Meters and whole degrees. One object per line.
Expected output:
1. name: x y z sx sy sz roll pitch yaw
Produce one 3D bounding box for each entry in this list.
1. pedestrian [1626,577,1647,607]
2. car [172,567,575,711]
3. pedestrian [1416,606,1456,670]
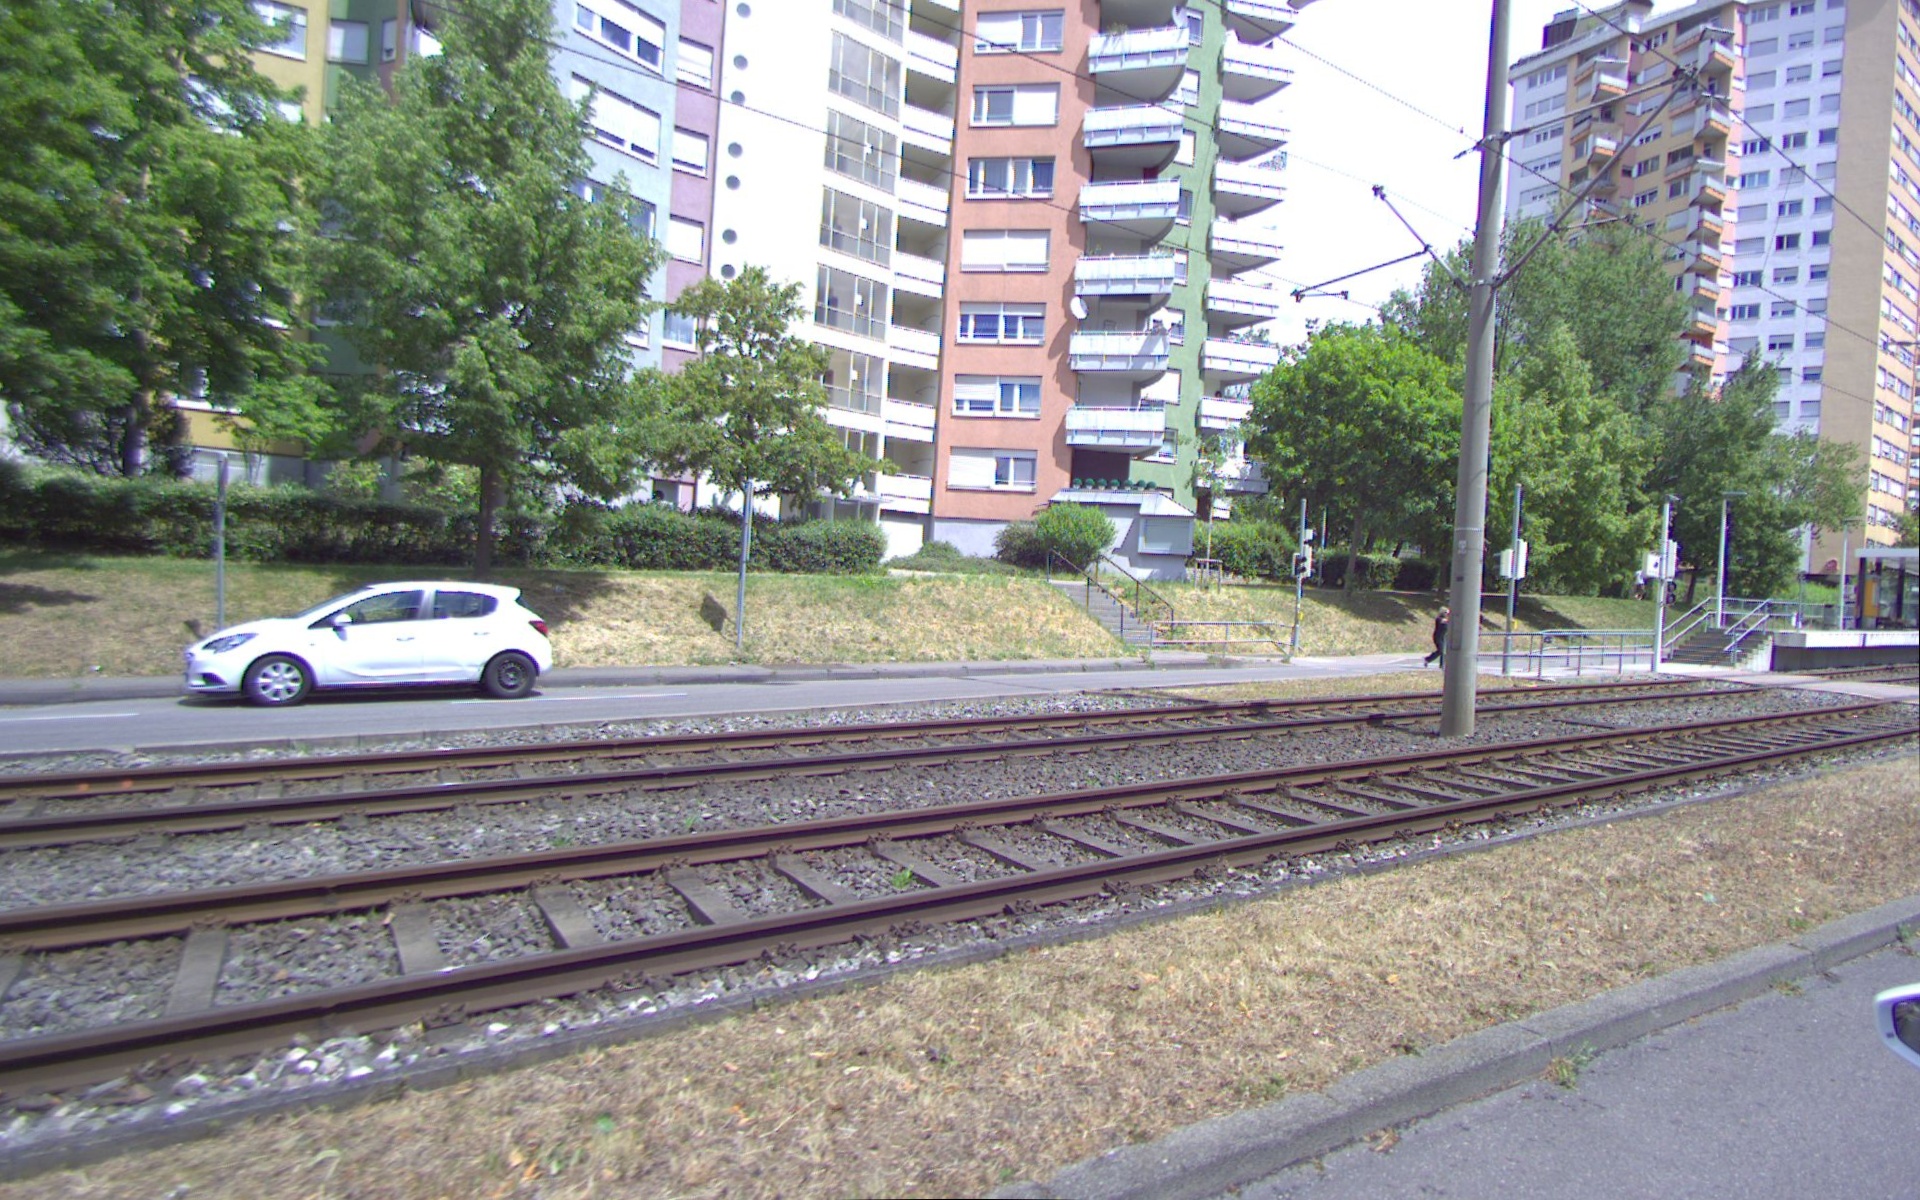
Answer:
1. pedestrian: 35.639 -0.425 52.928 0.623 1.555 0.634 1 0 -13
2. car: -7.328 0.465 12.828 4.204 1.552 1.769 1 -1 -37
3. pedestrian: 11.912 0.931 25.158 0.755 1.555 0.717 1 0 15
